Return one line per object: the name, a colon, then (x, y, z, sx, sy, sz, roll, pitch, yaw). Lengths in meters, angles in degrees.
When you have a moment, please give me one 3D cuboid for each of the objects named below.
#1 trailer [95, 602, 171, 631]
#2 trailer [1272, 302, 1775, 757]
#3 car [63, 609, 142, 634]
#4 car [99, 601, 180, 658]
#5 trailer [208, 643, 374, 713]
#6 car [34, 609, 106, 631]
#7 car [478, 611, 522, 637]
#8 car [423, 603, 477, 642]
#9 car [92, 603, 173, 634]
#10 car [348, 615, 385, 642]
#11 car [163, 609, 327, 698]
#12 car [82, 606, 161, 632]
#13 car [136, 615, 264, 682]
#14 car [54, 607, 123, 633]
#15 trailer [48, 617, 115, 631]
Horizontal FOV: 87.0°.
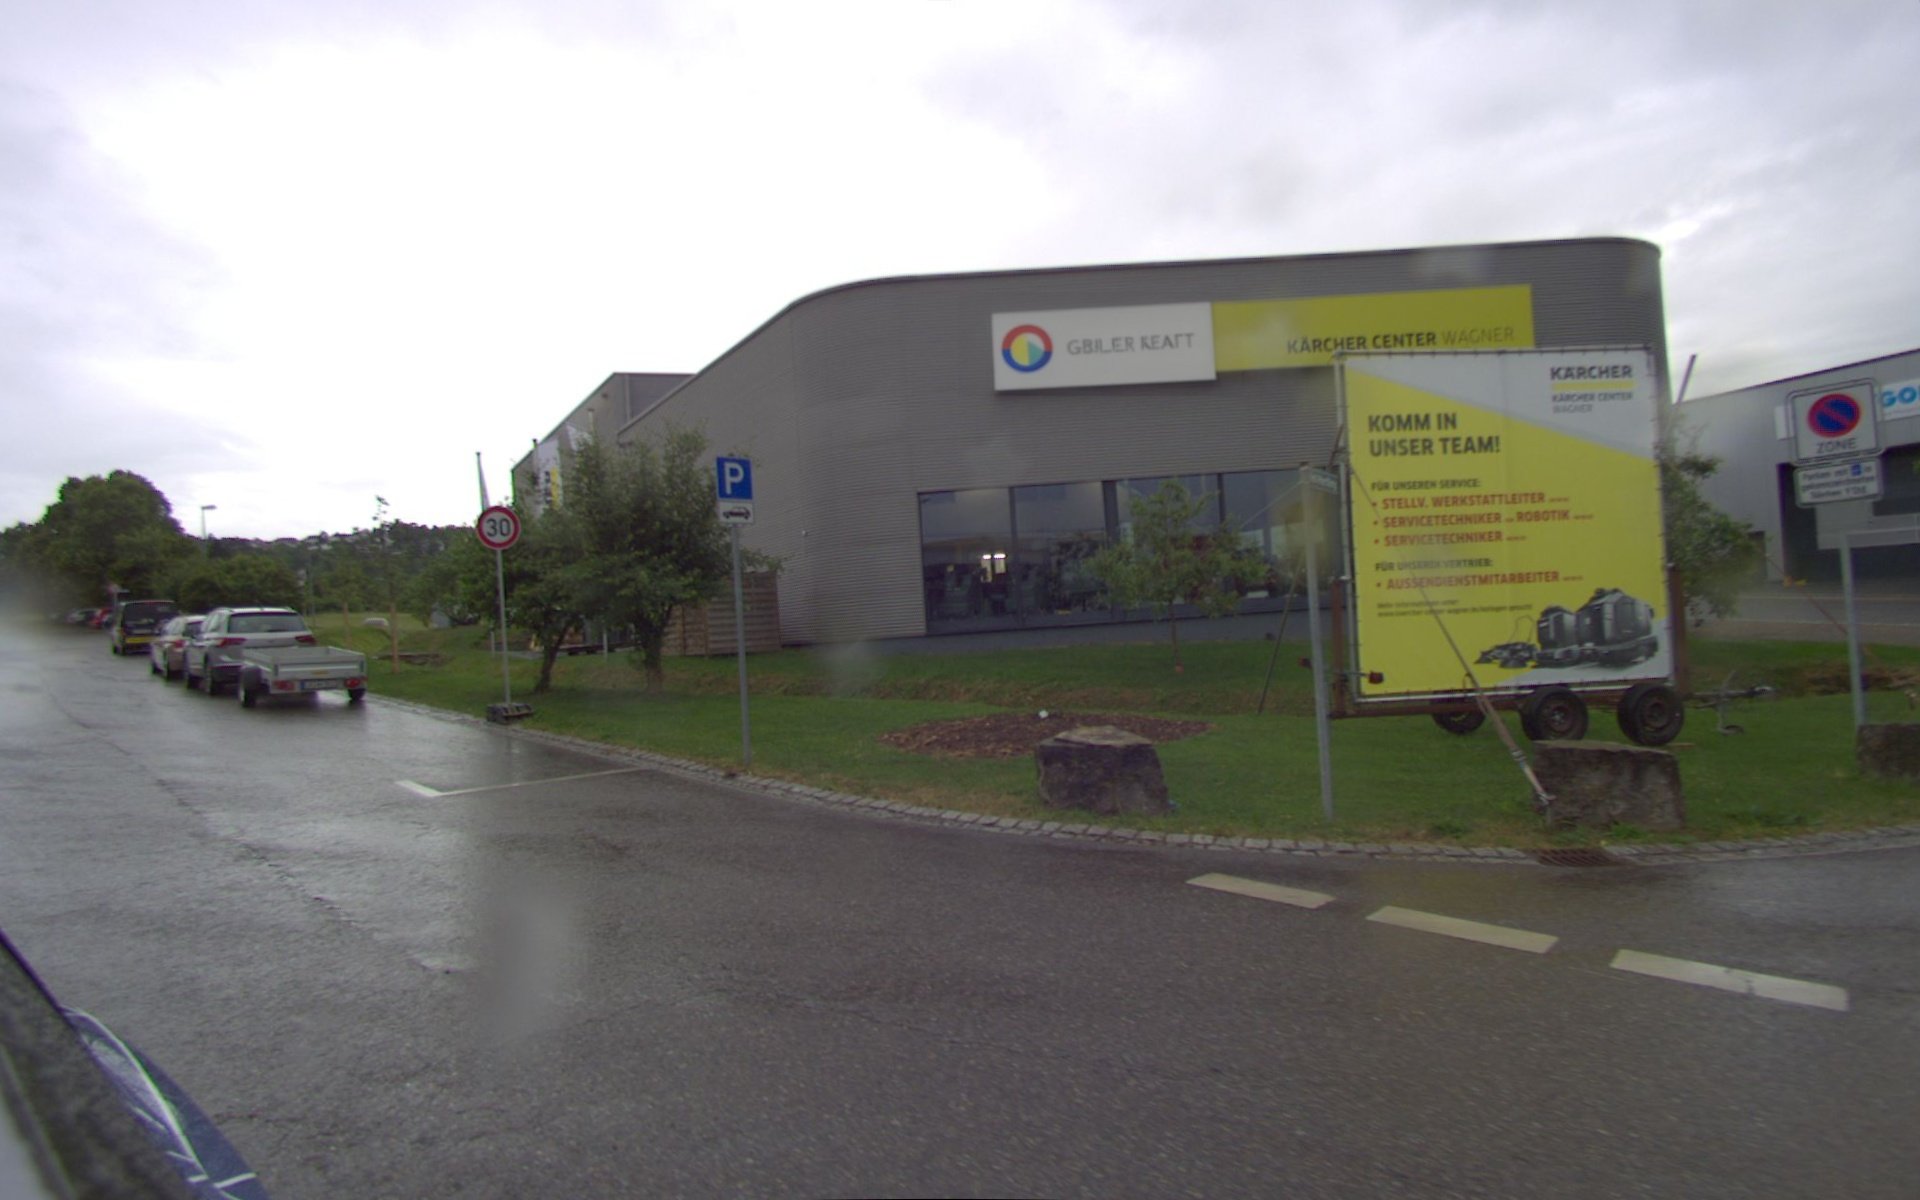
trailer: (-61.659, 1.177, 75.472, 1.774, 1.999, 4.167, 0, 1, 43)
trailer: (5.721, -0.691, 10.631, 4.122, 4.235, 2.009, -1, 0, -6)
car: (-67.673, 1.654, 79.928, 1.806, 1.601, 4.568, 0, 3, 43)
car: (-29.391, 0.998, 36.199, 1.893, 1.845, 4.852, -2, 1, -43)
trailer: (-11.837, 1.302, 17.804, 3.899, 0.895, 1.661, 0, 1, 45)
car: (-76.134, 1.712, 86.589, 2.042, 1.734, 4.325, 0, 1, 39)
car: (-25.868, 1.319, 57.010, 1.965, 1.407, 4.705, -1, 0, -21)
car: (-28.642, 1.317, 56.985, 2.099, 1.936, 5.627, -3, -2, -21)
car: (-56.612, 1.225, 69.266, 4.248, 1.920, 1.864, -1, 1, -42)
car: (-44.031, 2.130, 75.194, 1.965, 1.767, 4.397, -1, -4, -25)
car: (-14.883, 0.994, 20.959, 4.842, 1.588, 1.935, 0, 0, 44)
car: (-60.255, 1.356, 72.773, 1.754, 1.734, 4.154, 0, 1, 40)
car: (-19.283, 1.148, 25.582, 1.933, 1.472, 5.251, -1, 0, -44)
car: (-70.125, 1.593, 81.474, 2.026, 1.734, 4.029, 0, 3, 44)
trailer: (-72.182, 1.975, 83.148, 1.999, 0.968, 3.901, -2, 1, 41)
